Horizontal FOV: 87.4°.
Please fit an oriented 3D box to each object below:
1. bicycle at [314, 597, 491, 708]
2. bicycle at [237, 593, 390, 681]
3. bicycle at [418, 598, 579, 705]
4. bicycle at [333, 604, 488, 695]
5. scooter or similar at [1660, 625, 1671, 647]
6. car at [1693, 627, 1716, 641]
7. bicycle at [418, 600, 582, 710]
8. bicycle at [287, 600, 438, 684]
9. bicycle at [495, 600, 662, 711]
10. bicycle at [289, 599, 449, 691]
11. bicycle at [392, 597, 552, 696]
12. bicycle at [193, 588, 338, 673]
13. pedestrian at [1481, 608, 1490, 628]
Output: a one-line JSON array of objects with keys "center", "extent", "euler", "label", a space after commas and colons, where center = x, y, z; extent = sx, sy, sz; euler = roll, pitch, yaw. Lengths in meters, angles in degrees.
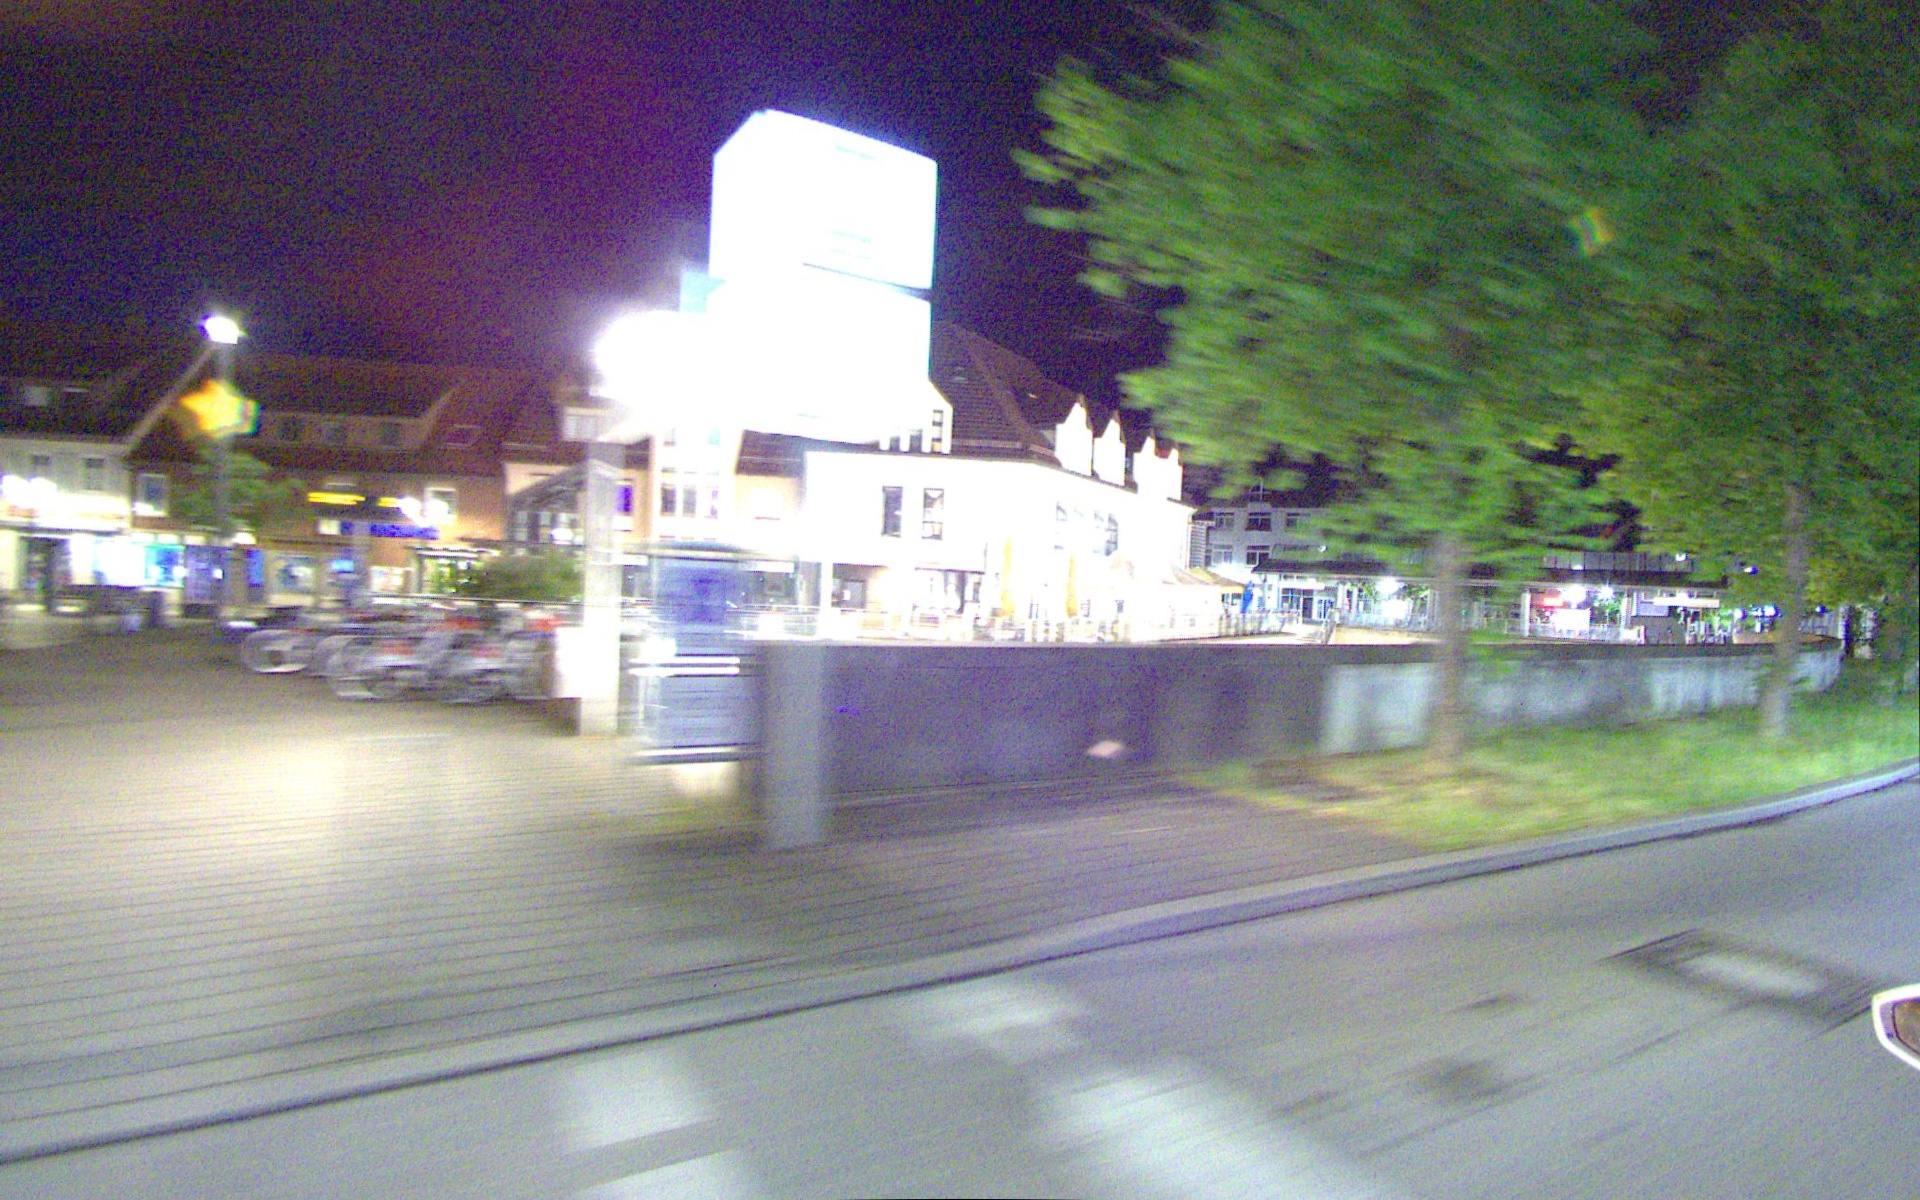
[{"center": [-6.443, 0.568, 11.702], "extent": [0.598, 1.181, 1.744], "euler": [1, 0, 29], "label": "bicycle"}, {"center": [-9.152, 0.499, 14.268], "extent": [0.600, 1.181, 1.736], "euler": [1, 1, 44], "label": "bicycle"}, {"center": [-5.519, 0.579, 12.115], "extent": [0.598, 1.181, 1.744], "euler": [1, 0, 29], "label": "bicycle"}, {"center": [-7.062, 0.602, 13.004], "extent": [0.597, 1.084, 1.745], "euler": [1, 0, 26], "label": "bicycle"}, {"center": [45.033, 2.289, 64.120], "extent": [0.423, 1.302, 1.145], "euler": [1, 0, 27], "label": "scooter or similar"}, {"center": [90.732, 4.077, 122.473], "extent": [1.683, 1.568, 3.535], "euler": [1, 0, 26], "label": "car"}, {"center": [-5.258, 0.589, 11.598], "extent": [0.535, 1.170, 1.744], "euler": [1, 0, 29], "label": "bicycle"}, {"center": [-8.382, 0.561, 14.143], "extent": [0.600, 1.115, 1.736], "euler": [1, 1, 44], "label": "bicycle"}, {"center": [-4.403, 0.598, 11.708], "extent": [0.747, 1.177, 1.744], "euler": [1, 0, 29], "label": "bicycle"}, {"center": [-7.835, 0.566, 13.376], "extent": [0.600, 1.140, 1.736], "euler": [1, 1, 44], "label": "bicycle"}, {"center": [-6.192, 0.558, 12.817], "extent": [0.600, 1.181, 1.736], "euler": [1, 1, 44], "label": "bicycle"}, {"center": [-10.596, 0.446, 15.367], "extent": [0.600, 1.235, 1.736], "euler": [1, 1, 44], "label": "bicycle"}, {"center": [43.253, 1.473, 82.738], "extent": [0.451, 1.566, 0.481], "euler": [1, 1, -3], "label": "pedestrian"}]
